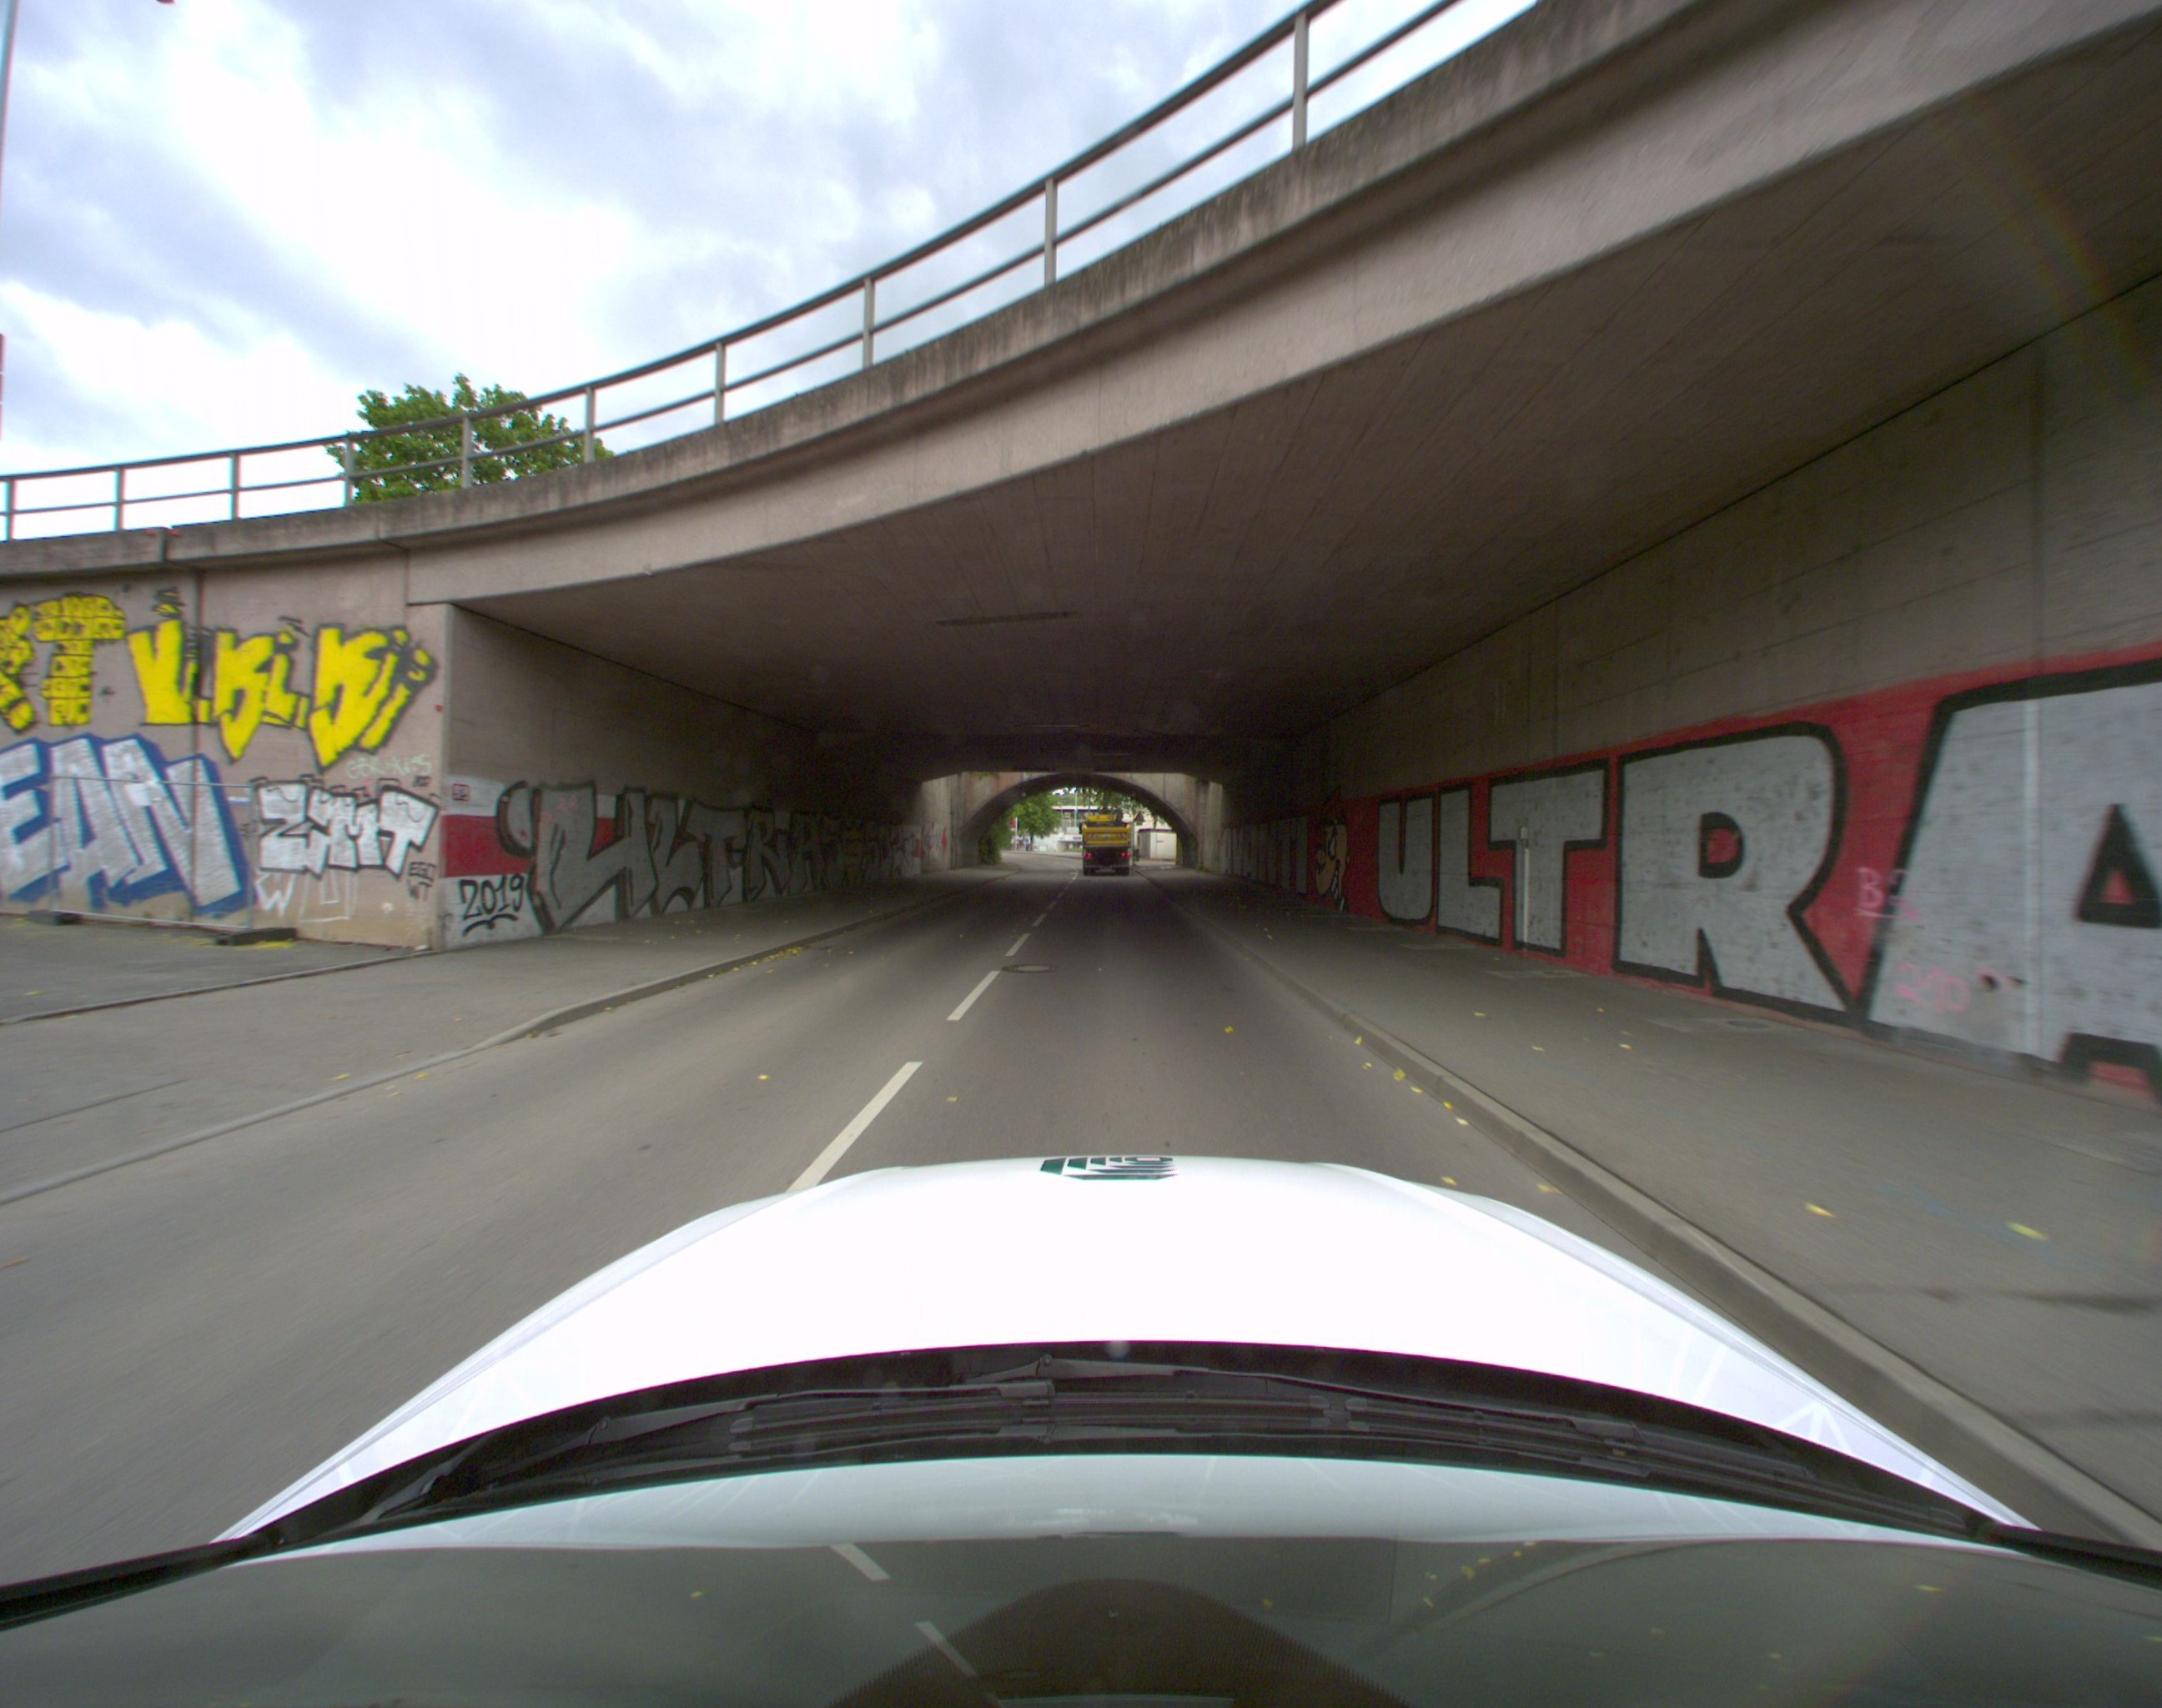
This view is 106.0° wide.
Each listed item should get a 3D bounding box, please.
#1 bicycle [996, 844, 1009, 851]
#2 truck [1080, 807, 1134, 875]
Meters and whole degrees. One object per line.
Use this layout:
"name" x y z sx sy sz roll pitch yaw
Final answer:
"bicycle" -11.777 -1.033 122.412 1.981 0.865 0.505 6 -2 -38
"truck" 1.390 -0.790 46.476 2.755 3.483 8.130 1 2 0
